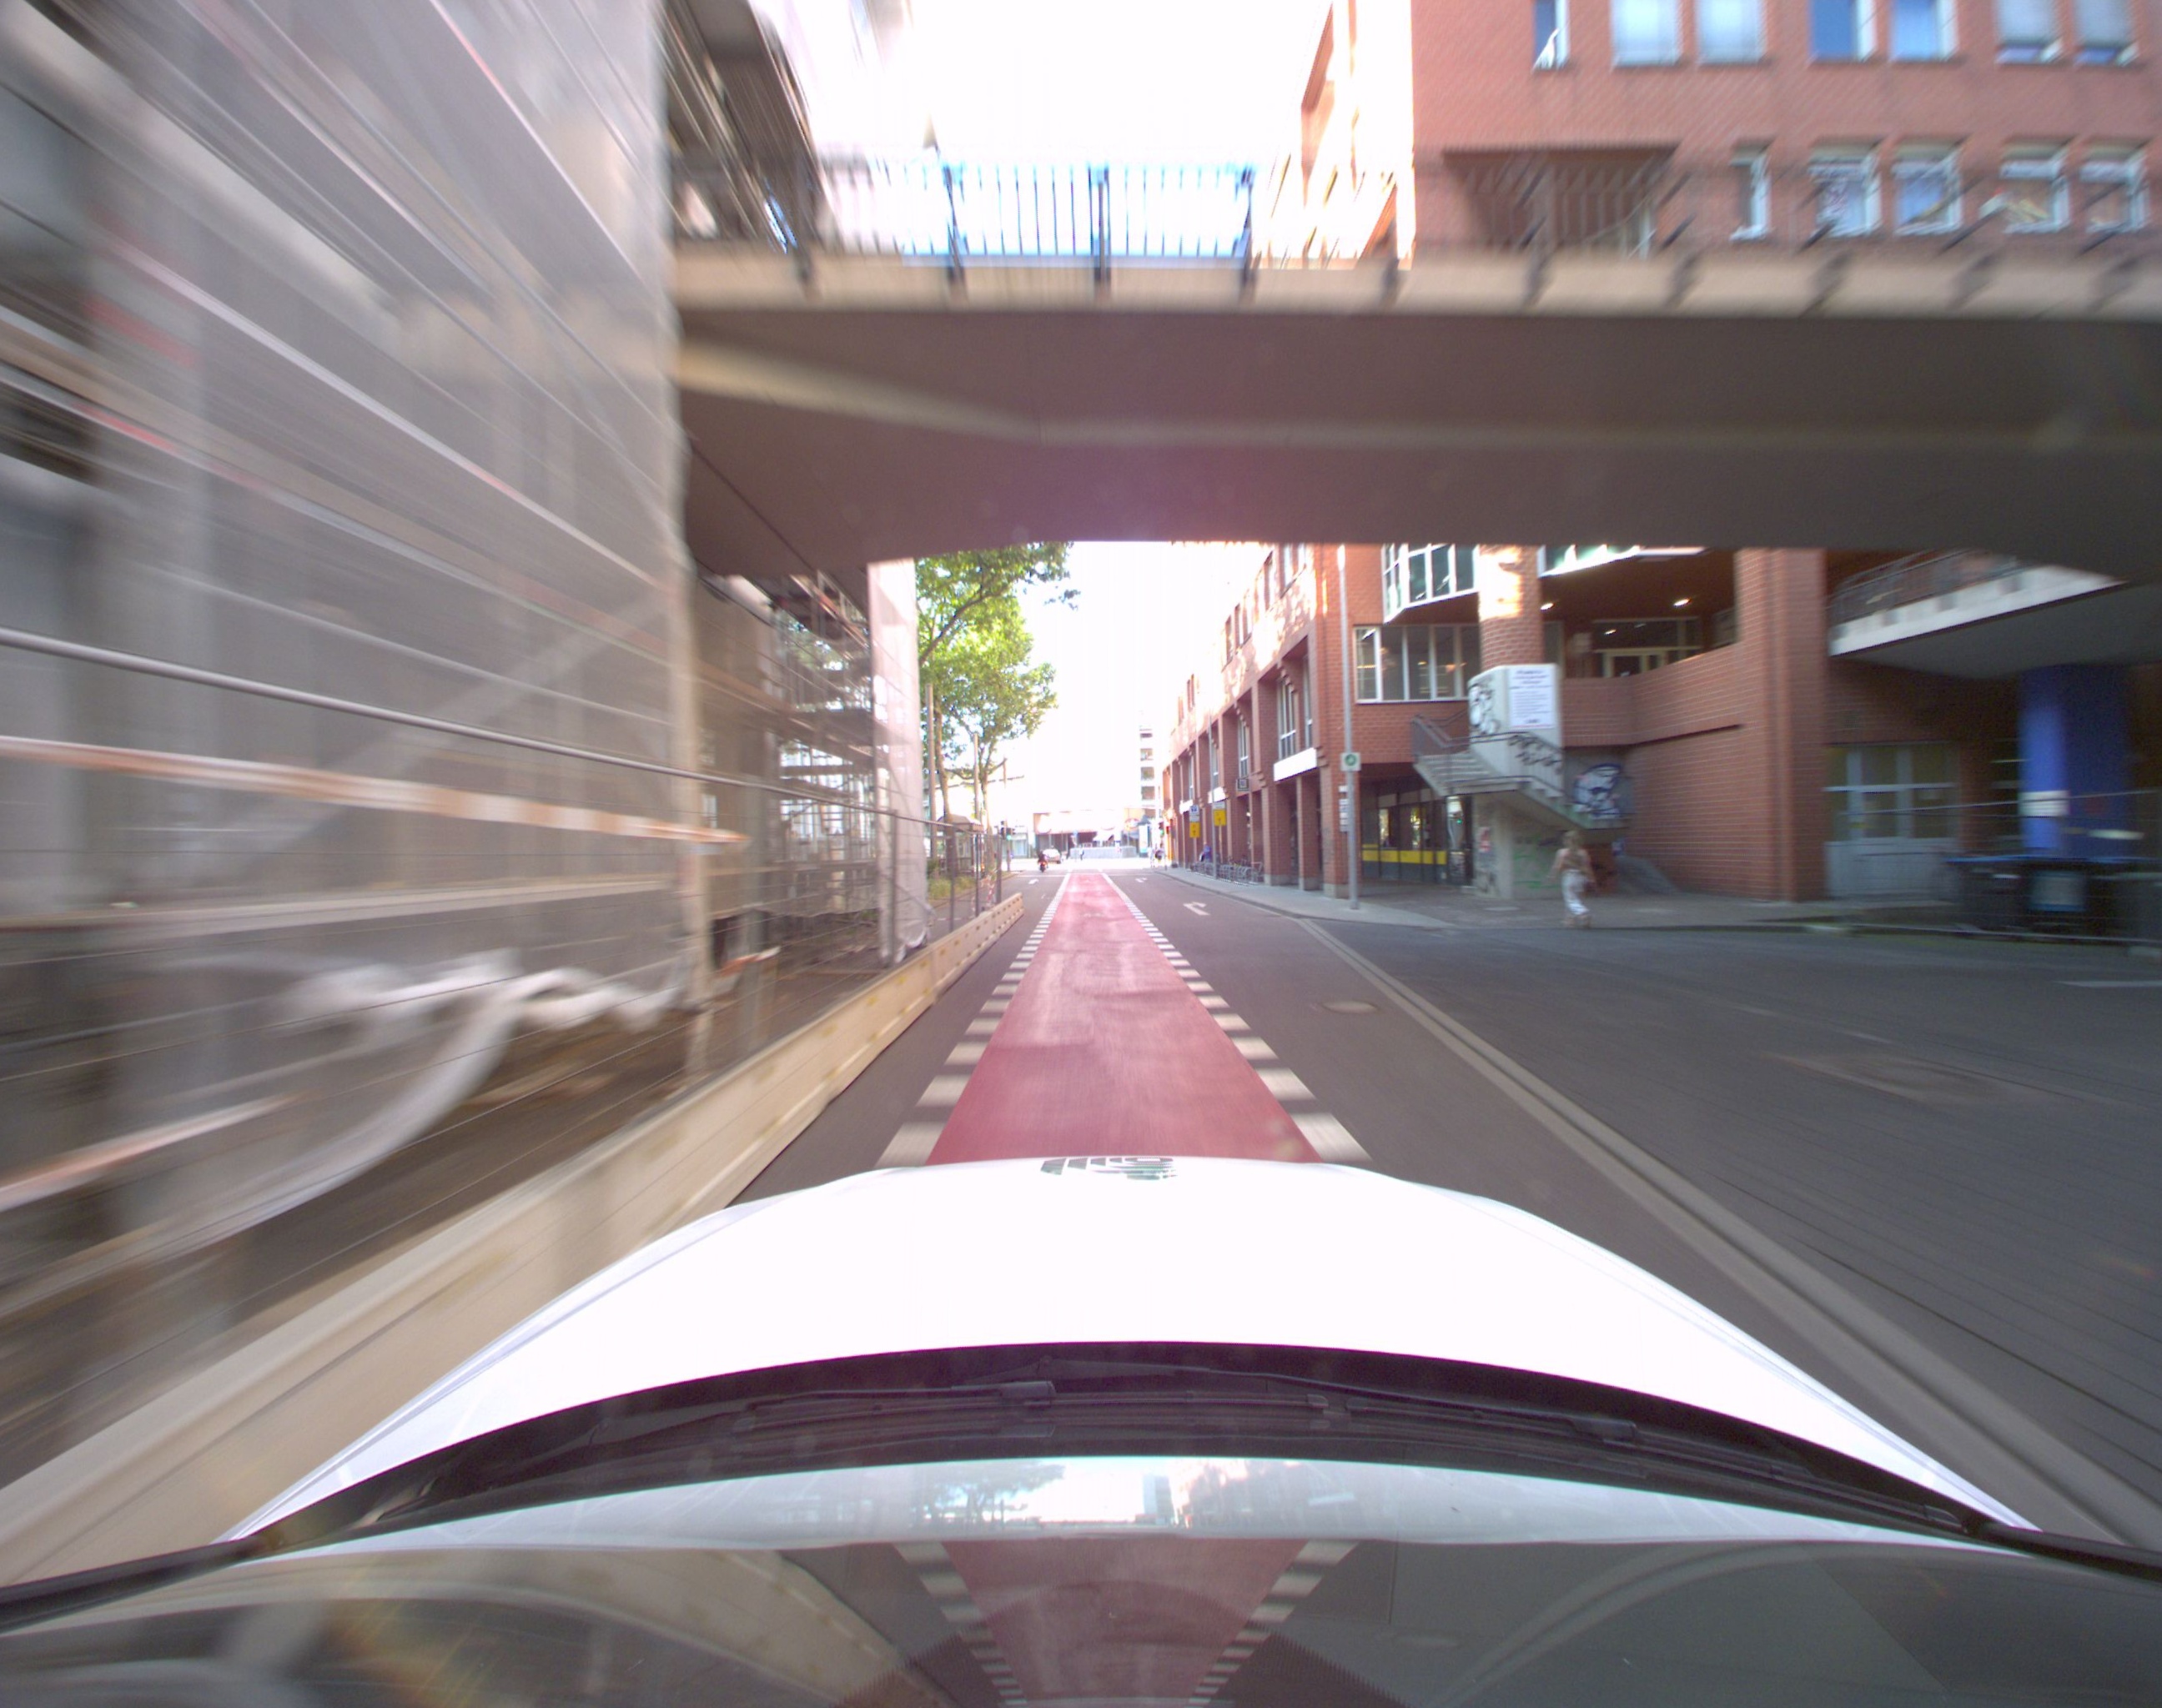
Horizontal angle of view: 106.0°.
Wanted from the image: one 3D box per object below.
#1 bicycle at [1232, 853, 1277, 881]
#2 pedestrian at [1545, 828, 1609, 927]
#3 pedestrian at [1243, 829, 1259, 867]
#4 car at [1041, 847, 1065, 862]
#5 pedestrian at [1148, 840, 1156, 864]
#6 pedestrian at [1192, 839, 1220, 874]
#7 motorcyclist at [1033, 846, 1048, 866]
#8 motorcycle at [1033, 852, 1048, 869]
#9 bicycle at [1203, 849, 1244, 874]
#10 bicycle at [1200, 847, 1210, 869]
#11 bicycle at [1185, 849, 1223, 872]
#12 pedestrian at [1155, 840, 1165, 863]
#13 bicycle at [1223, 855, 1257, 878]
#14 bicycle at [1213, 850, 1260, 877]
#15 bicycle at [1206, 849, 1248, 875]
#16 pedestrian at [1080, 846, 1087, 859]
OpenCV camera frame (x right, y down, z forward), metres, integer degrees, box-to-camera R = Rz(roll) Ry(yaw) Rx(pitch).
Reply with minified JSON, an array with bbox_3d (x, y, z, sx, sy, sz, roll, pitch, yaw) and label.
[{"bbox_3d":[6.898,0.521,32.362,1.605,0.955,0.555,-5,0,1],"label":"bicycle"},{"bbox_3d":[8.449,0.387,13.895,0.567,1.633,0.777,-1,0,-1],"label":"pedestrian"},{"bbox_3d":[9.135,-0.339,43.835,0.606,2.013,0.659,-2,0,-6],"label":"pedestrian"},{"bbox_3d":[-2.822,0.058,81.227,1.923,1.388,3.988,-2,1,-9],"label":"car"},{"bbox_3d":[5.475,-0.167,62.638,0.474,1.792,0.541,-2,0,-1],"label":"pedestrian"},{"bbox_3d":[6.364,0.134,41.490,1.190,1.696,0.886,-4,0,2],"label":"pedestrian"},{"bbox_3d":[-2.841,0.149,57.278,0.967,1.347,1.137,-1,0,-1],"label":"motorcyclist"},{"bbox_3d":[-2.827,0.463,57.228,0.970,1.131,2.804,-1,0,-1],"label":"motorcycle"},{"bbox_3d":[6.978,0.371,39.831,1.885,1.119,0.475,-3,0,-1],"label":"bicycle"},{"bbox_3d":[7.109,0.226,46.764,0.338,1.183,1.679,-2,1,1],"label":"bicycle"},{"bbox_3d":[6.535,0.343,43.344,1.885,1.119,0.474,-3,0,-1],"label":"bicycle"},{"bbox_3d":[6.042,-0.166,62.524,0.631,1.725,0.630,-2,0,-1],"label":"pedestrian"},{"bbox_3d":[6.844,0.539,35.070,1.329,0.841,0.425,-5,0,1],"label":"bicycle"},{"bbox_3d":[6.970,0.408,36.567,1.925,1.057,0.573,-4,0,2],"label":"bicycle"},{"bbox_3d":[7.014,0.382,39.203,1.885,1.119,0.550,-3,0,-1],"label":"bicycle"},{"bbox_3d":[0.278,-0.164,99.866,0.544,1.583,0.550,-2,1,-43],"label":"pedestrian"}]
